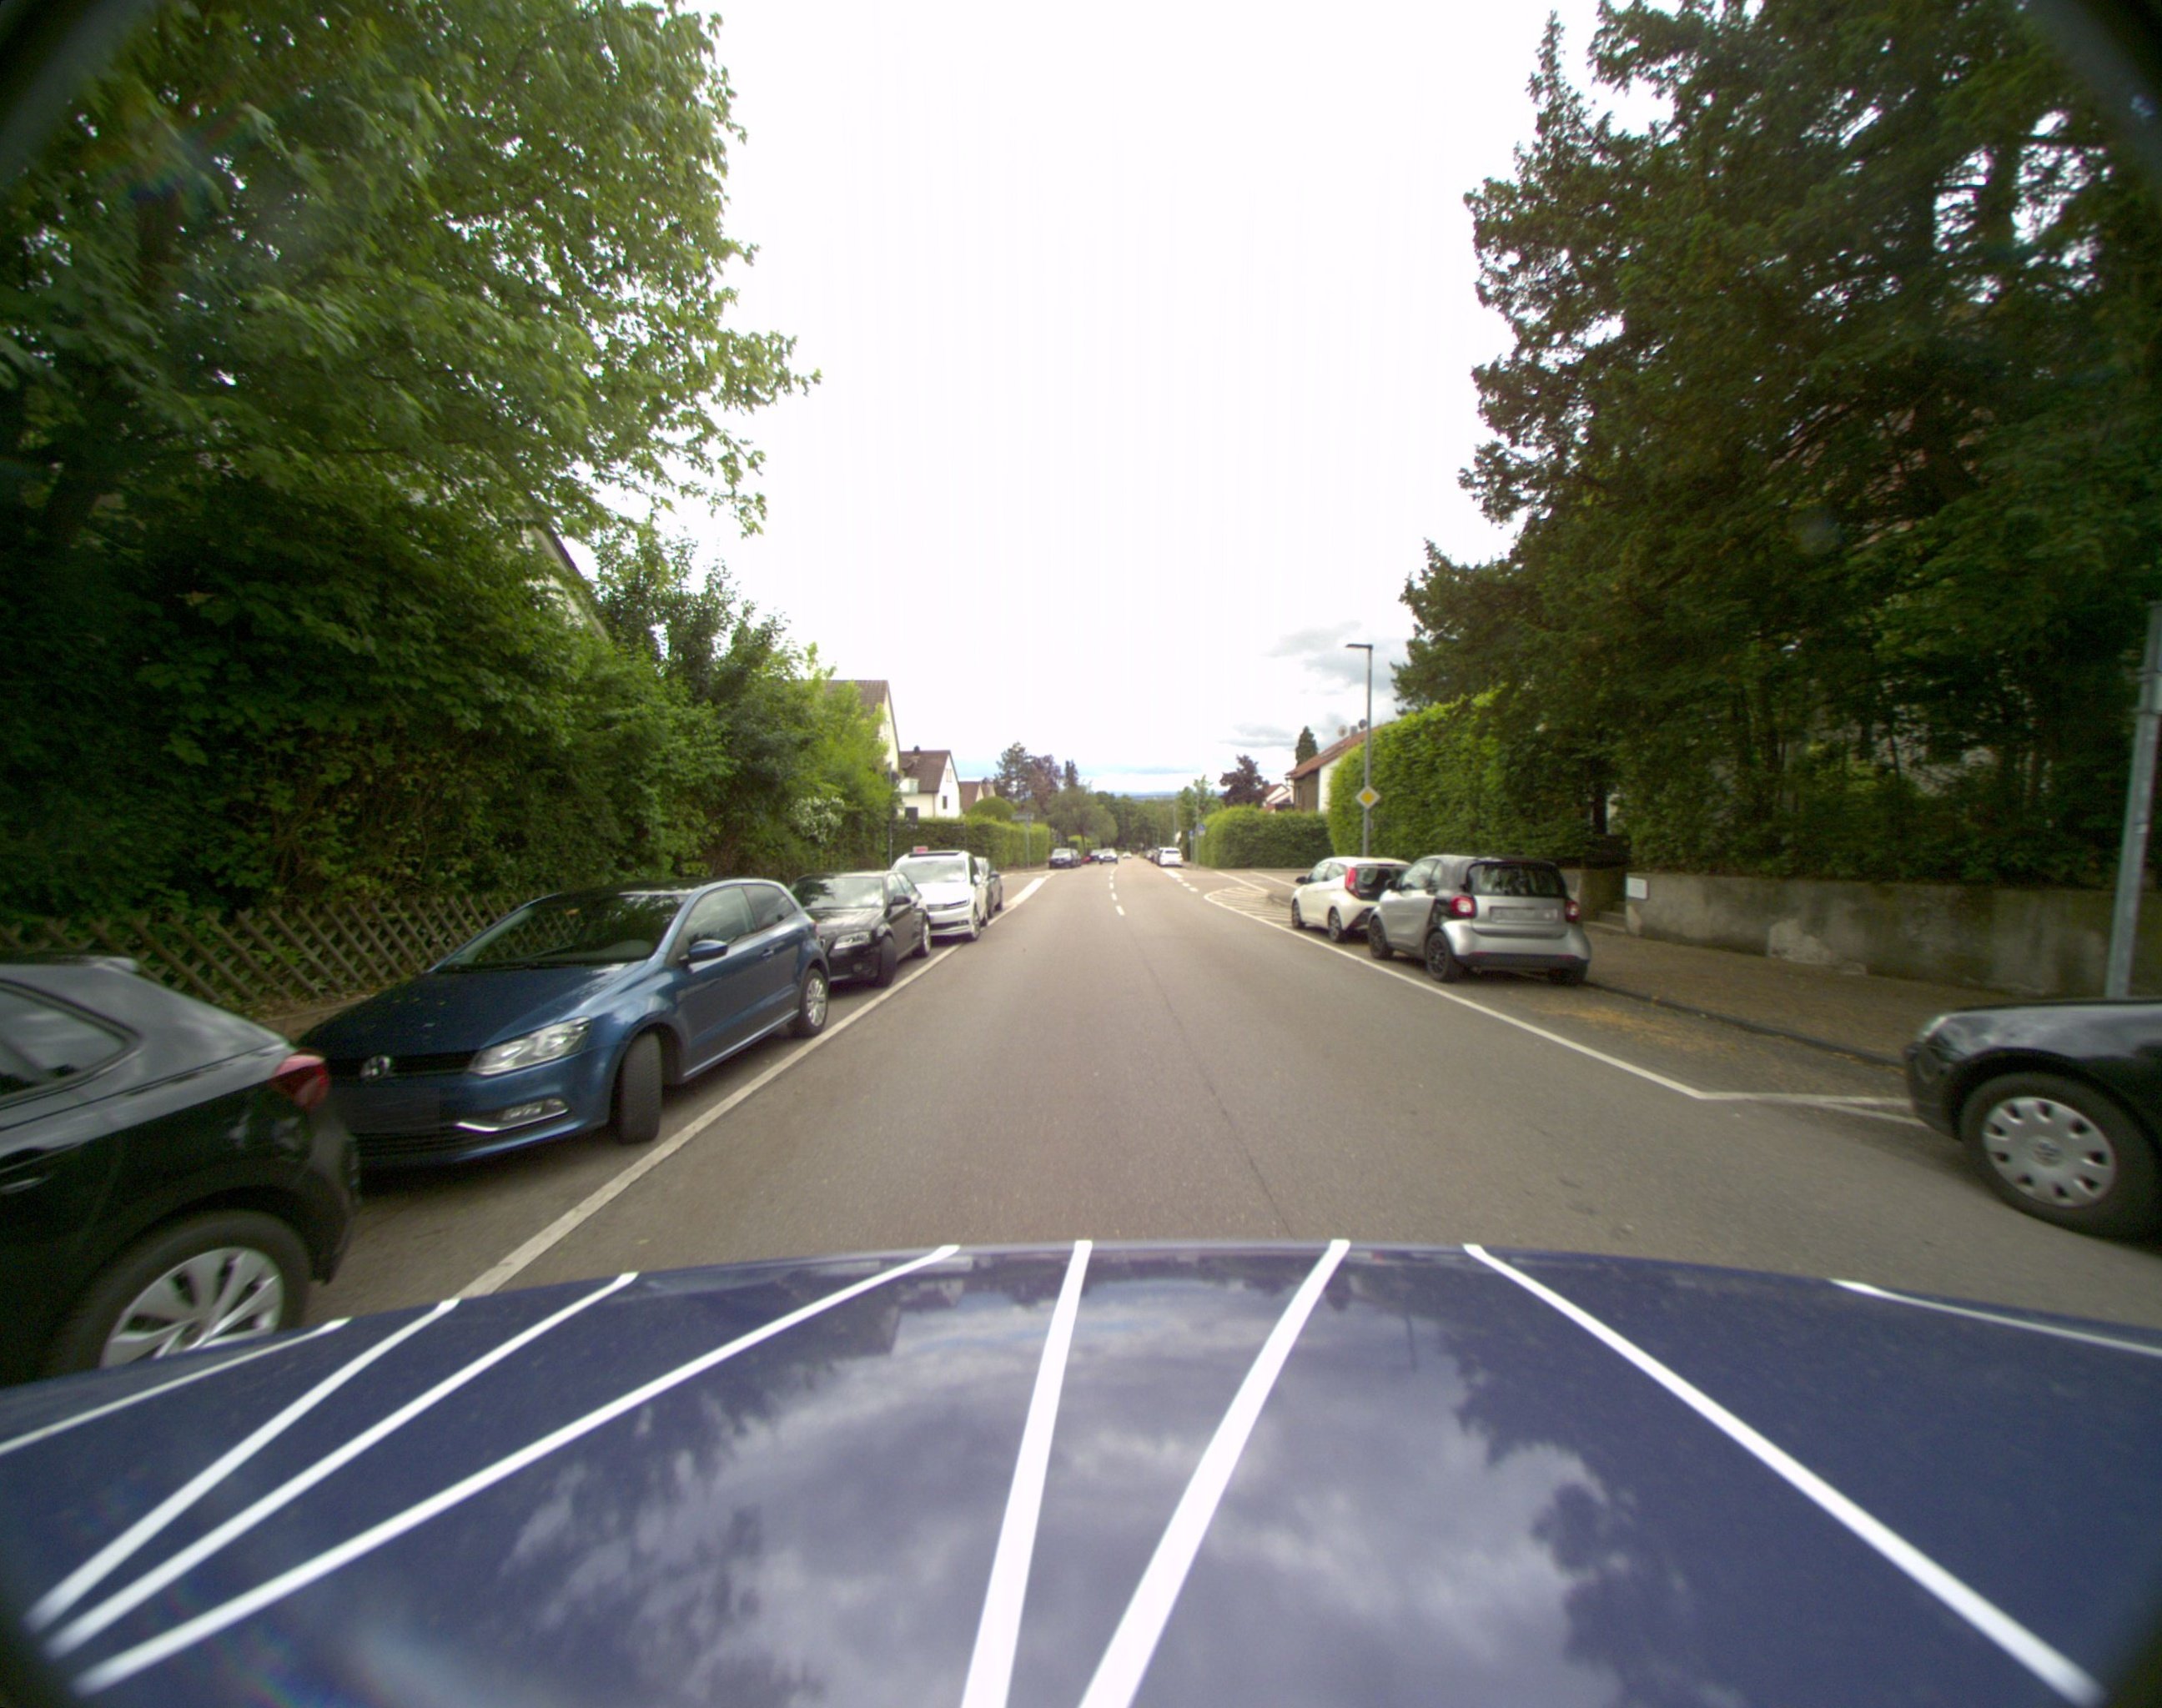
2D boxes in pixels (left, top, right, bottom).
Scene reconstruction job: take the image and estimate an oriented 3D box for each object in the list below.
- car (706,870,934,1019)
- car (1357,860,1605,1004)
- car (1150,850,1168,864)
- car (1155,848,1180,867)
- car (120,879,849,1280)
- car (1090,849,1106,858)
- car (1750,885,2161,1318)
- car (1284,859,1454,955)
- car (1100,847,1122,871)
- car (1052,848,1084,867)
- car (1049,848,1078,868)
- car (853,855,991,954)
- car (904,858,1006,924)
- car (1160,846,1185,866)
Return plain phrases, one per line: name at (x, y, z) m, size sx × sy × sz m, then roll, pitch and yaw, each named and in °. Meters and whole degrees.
car at (-3.195, 1.014, 10.297) m, size 1.815 × 1.444 × 4.376 m, roll 0°, pitch 1°, yaw -3°
car at (4.931, 0.868, 9.837) m, size 1.628 × 1.510 × 2.975 m, roll 0°, pitch 1°, yaw 0°
car at (9.089, 0.313, 89.154) m, size 1.944 × 1.540 × 4.007 m, roll 0°, pitch 0°, yaw 4°
car at (7.180, 0.264, 63.612) m, size 1.786 × 1.481 × 4.739 m, roll 3°, pitch 1°, yaw 4°
car at (-3.179, 1.037, 5.322) m, size 1.702 × 1.499 × 4.160 m, roll -2°, pitch 0°, yaw 1°
car at (2.357, -0.046, 104.958) m, size 1.998 × 1.221 × 4.001 m, roll 0°, pitch 1°, yaw 4°
car at (4.771, 0.924, 1.998) m, size 1.855 × 1.461 × 4.682 m, roll 0°, pitch 0°, yaw 0°
car at (5.037, 0.857, 13.803) m, size 1.749 × 1.439 × 3.513 m, roll 1°, pitch 0°, yaw 1°
car at (2.910, 0.453, 73.384) m, size 1.998 × 2.002 × 3.999 m, roll 2°, pitch 2°, yaw 2°
car at (-1.018, 0.288, 63.049) m, size 1.927 × 1.485 × 5.211 m, roll 0°, pitch 0°, yaw 7°
car at (-1.296, 0.300, 57.622) m, size 1.794 × 1.480 × 4.380 m, roll 0°, pitch 0°, yaw 4°
car at (-2.906, 0.841, 14.962) m, size 2.006 × 1.599 × 4.756 m, roll 0°, pitch 0°, yaw -4°
car at (-3.148, 0.883, 19.912) m, size 1.942 × 1.483 × 4.456 m, roll 0°, pitch 0°, yaw 0°
car at (7.038, 0.149, 58.513) m, size 1.693 × 1.411 × 3.580 m, roll 2°, pitch 1°, yaw 5°
